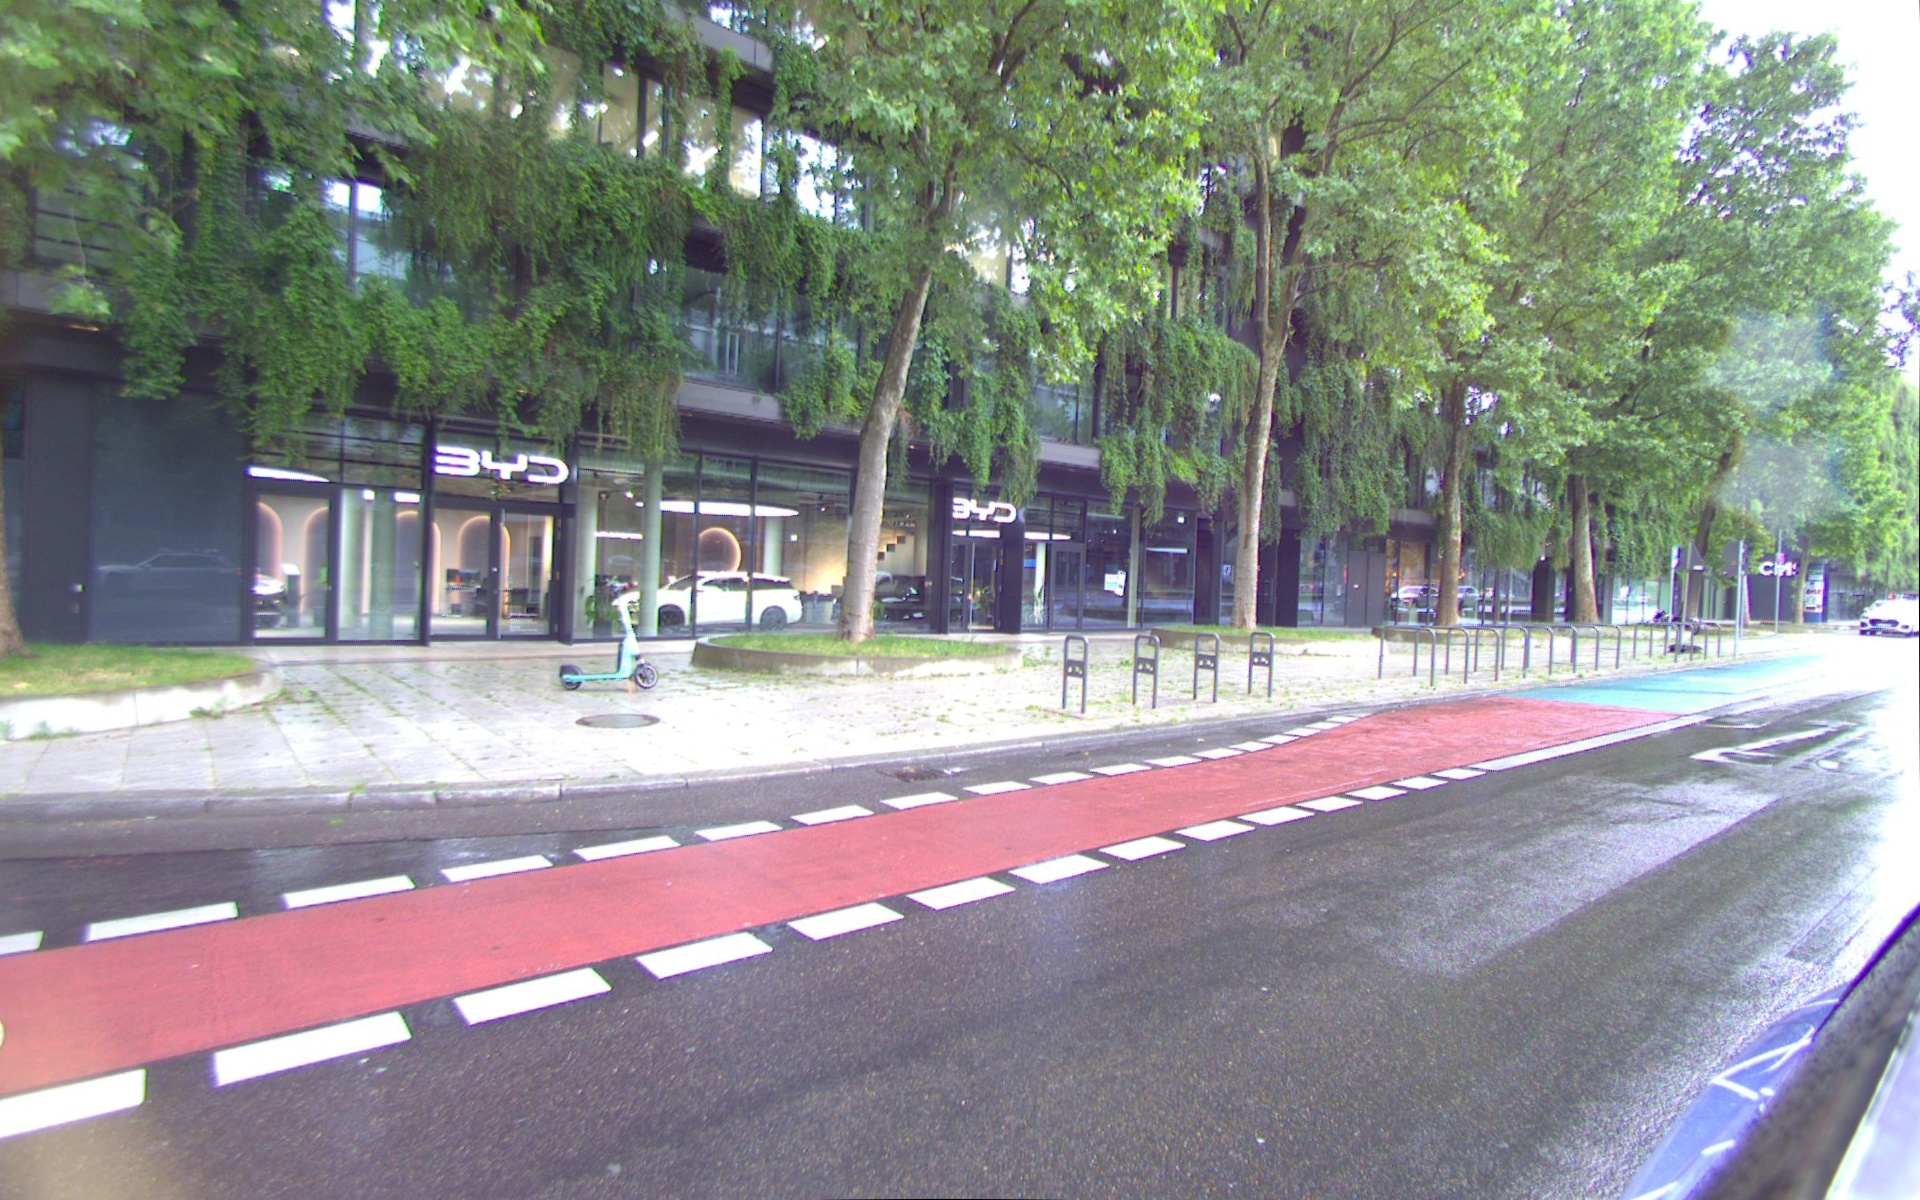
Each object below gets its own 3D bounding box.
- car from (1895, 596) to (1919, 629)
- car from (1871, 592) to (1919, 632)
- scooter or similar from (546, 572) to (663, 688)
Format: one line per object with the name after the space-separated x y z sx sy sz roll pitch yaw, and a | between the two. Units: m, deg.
49.264 0.613 51.394 4.503 1.581 2.035 -1 1 -39 | car
44.584 0.525 47.685 4.519 1.757 1.931 -1 1 -41 | car
-4.076 0.330 11.631 1.165 1.298 0.535 0 0 10 | scooter or similar
